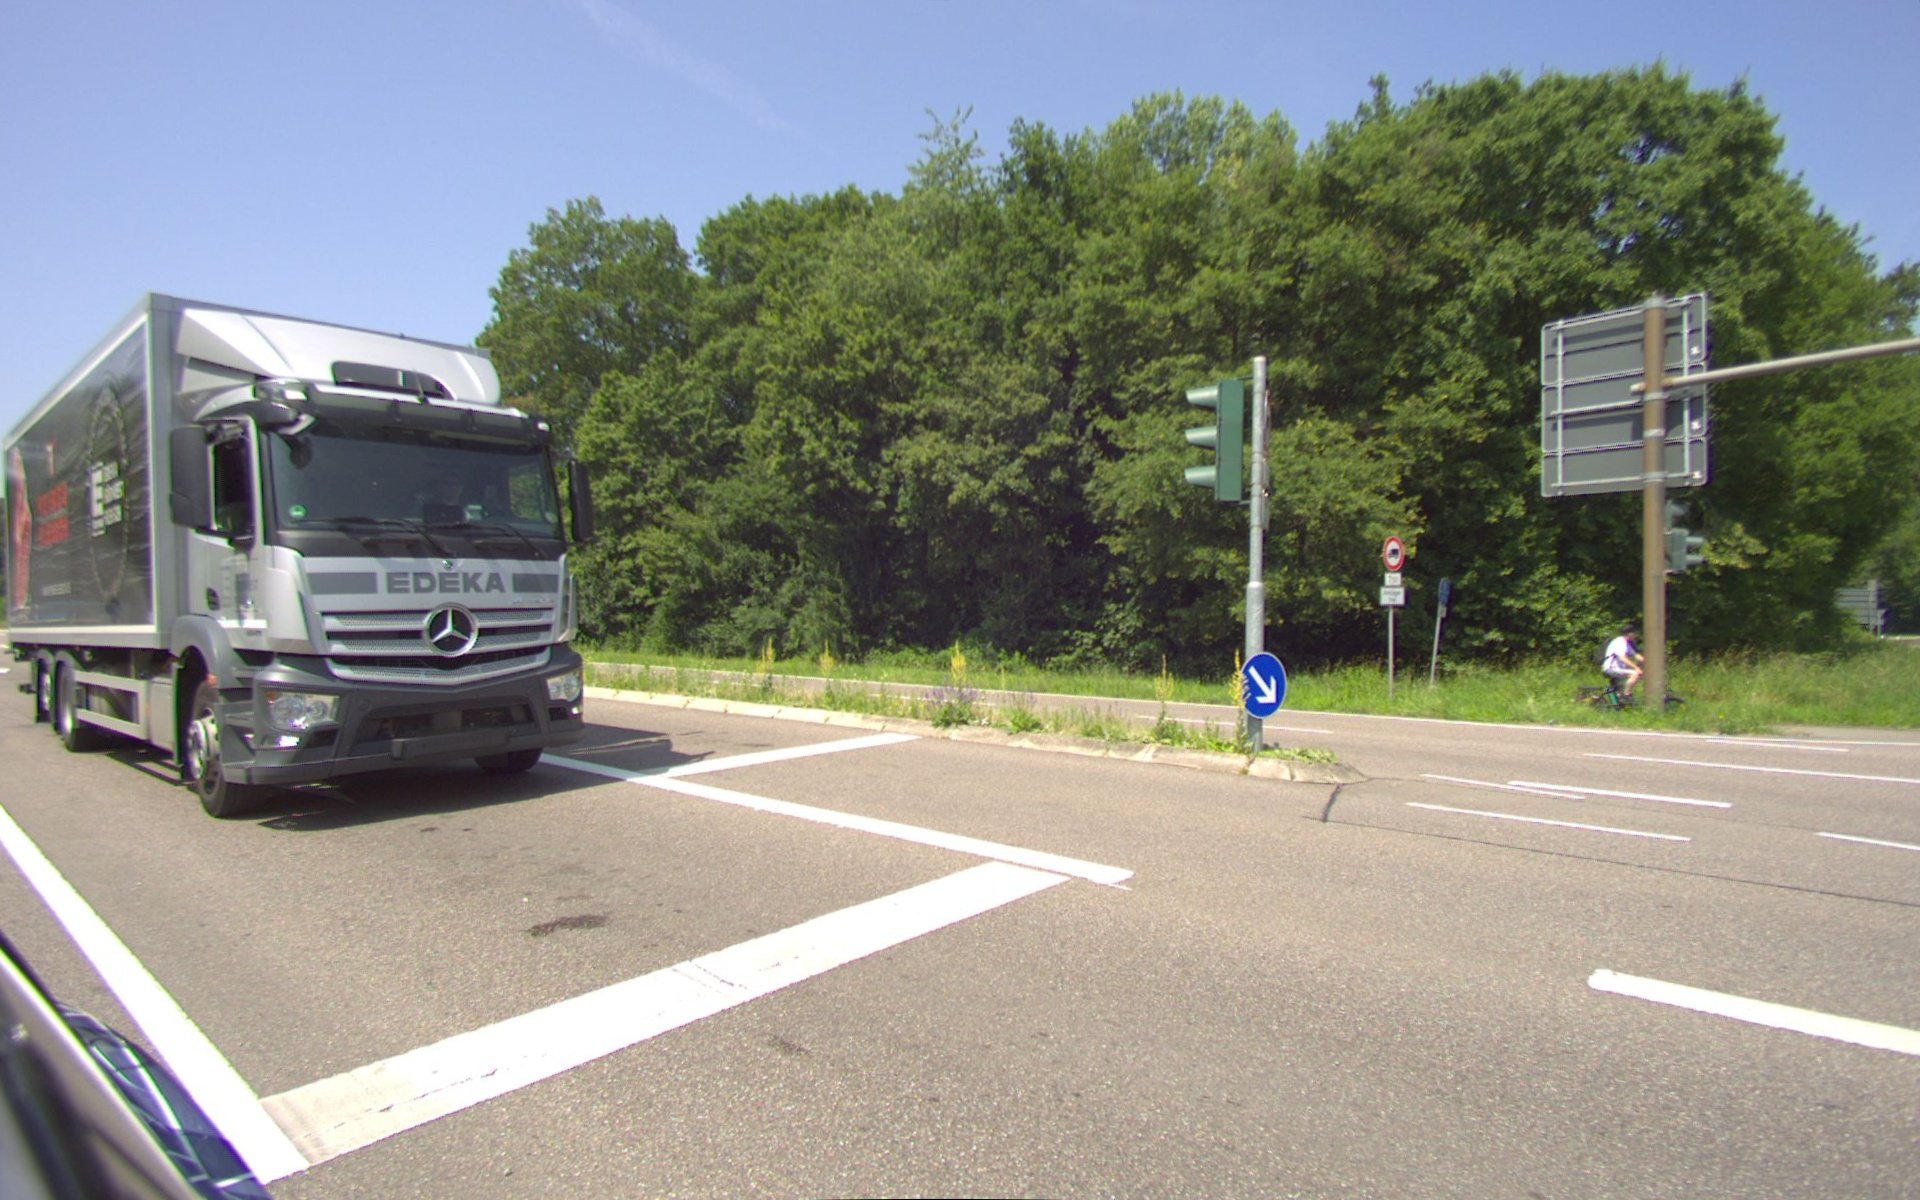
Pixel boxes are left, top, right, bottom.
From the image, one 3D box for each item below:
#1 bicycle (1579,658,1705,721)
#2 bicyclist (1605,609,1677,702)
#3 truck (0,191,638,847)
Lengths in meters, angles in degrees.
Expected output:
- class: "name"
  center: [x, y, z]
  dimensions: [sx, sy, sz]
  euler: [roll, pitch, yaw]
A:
- class: "bicycle"
  center: [11.131, 1.439, 16.565]
  dimensions: [0.558, 0.930, 1.608]
  euler: [2, -2, -39]
- class: "bicyclist"
  center: [11.142, 0.897, 16.568]
  dimensions: [0.651, 1.476, 0.811]
  euler: [2, -2, -39]
- class: "truck"
  center: [-7.779, -0.438, 10.756]
  dimensions: [11.312, 3.914, 2.718]
  euler: [-1, 0, 40]
